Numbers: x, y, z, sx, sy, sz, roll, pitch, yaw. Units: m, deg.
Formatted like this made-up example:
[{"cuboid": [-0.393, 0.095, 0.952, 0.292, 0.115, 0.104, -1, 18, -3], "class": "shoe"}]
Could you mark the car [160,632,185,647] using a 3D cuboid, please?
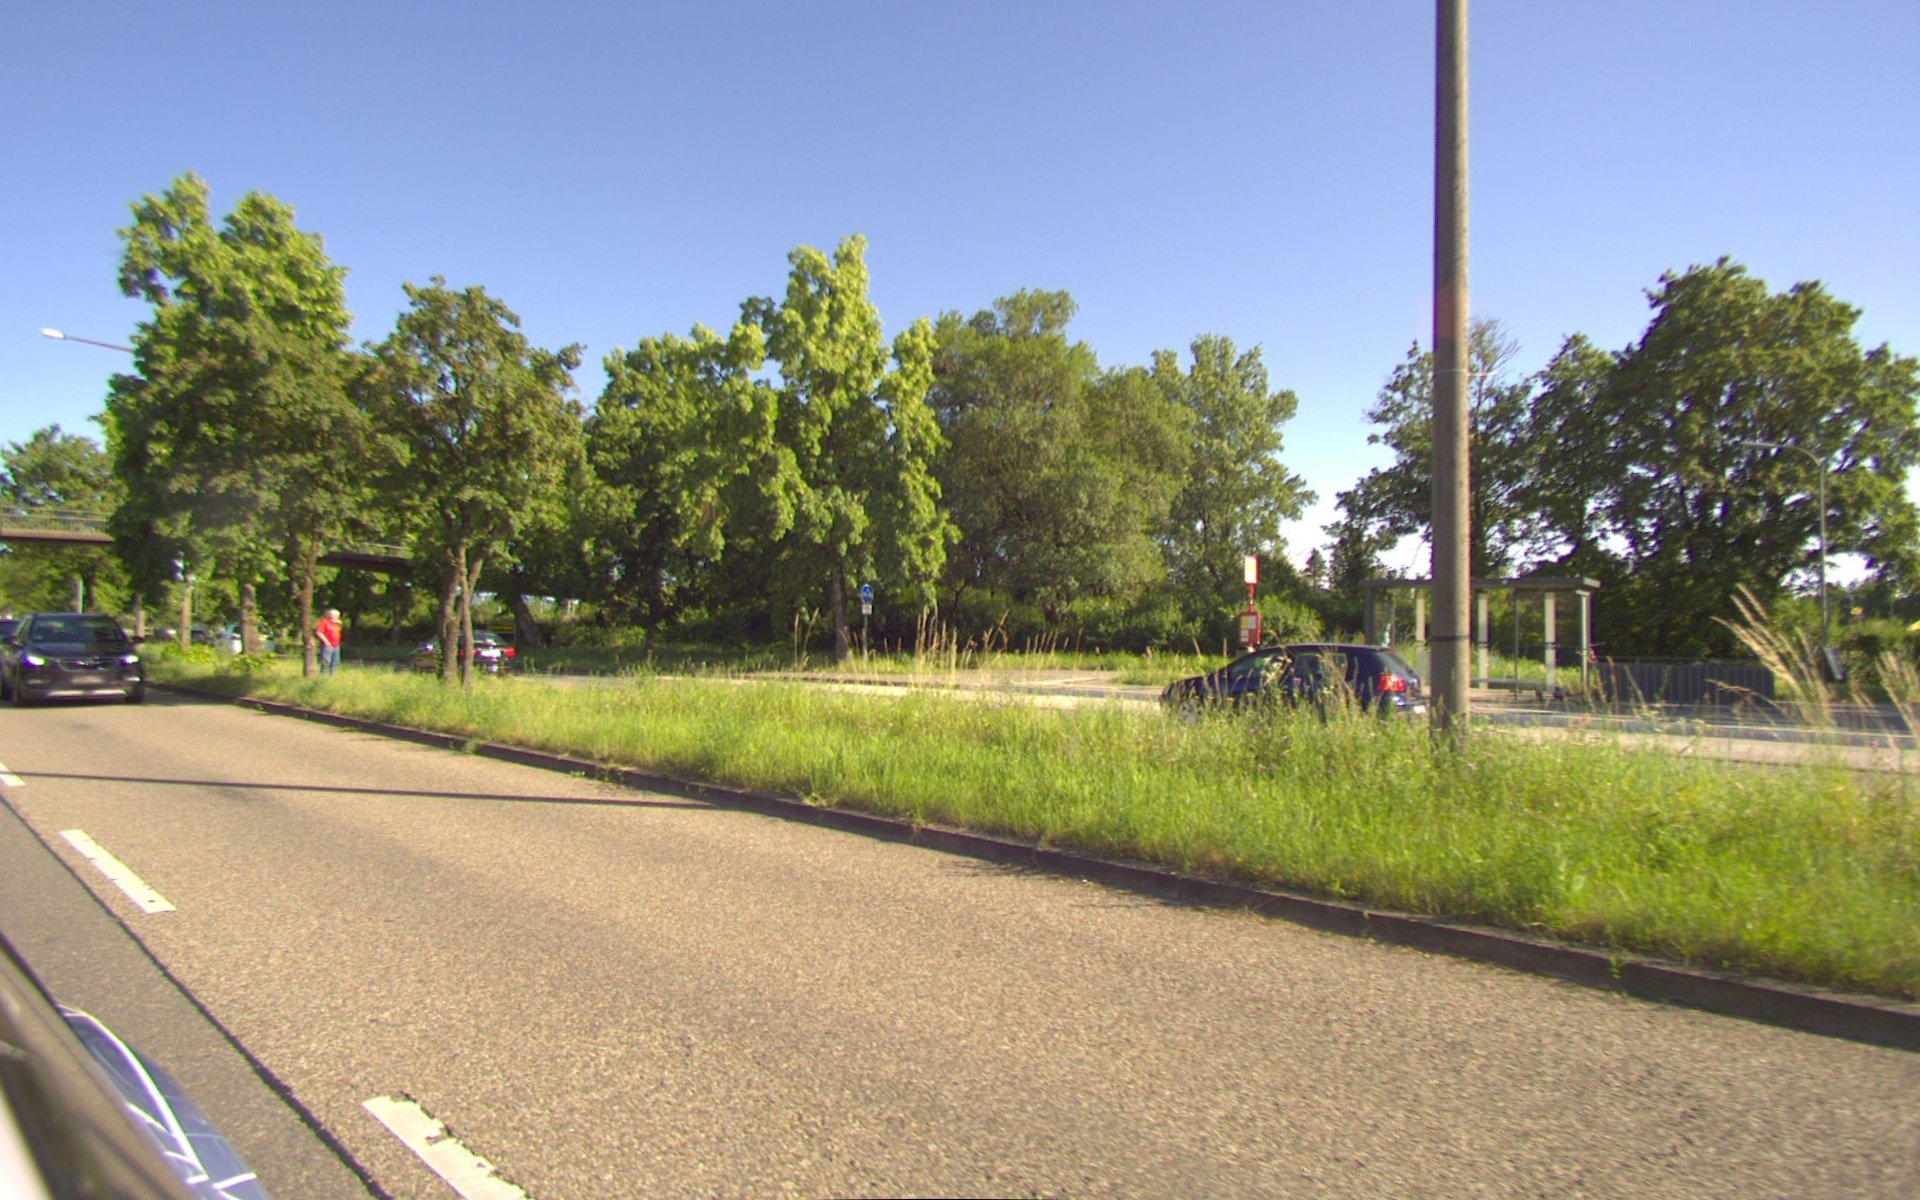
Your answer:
[{"cuboid": [-87.187, 4.353, 111.986, 1.729, 1.632, 4.582, 2, -3, -44], "class": "car"}]

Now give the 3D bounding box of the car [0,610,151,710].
[{"cuboid": [-16.629, 1.045, 18.738, 4.512, 1.627, 1.787, -1, -2, 41], "class": "car"}]

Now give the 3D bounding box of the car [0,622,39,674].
[{"cuboid": [-30.933, 1.546, 32.458, 4.648, 1.574, 1.798, -3, -3, 45], "class": "car"}]

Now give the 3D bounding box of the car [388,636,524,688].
[{"cuboid": [-14.743, 1.742, 29.504, 4.976, 1.371, 1.763, -1, -3, 41], "class": "car"}]

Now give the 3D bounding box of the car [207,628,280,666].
[{"cuboid": [-32.020, 2.092, 45.182, 4.196, 1.644, 1.712, -2, -4, 41], "class": "car"}]

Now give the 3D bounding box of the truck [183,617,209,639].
[{"cuboid": [-97.469, 3.579, 129.167, 2.143, 2.532, 5.756, 4, -5, -34], "class": "truck"}]

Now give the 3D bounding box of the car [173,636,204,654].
[{"cuboid": [-73.987, 4.340, 97.033, 1.711, 1.659, 4.903, 5, -5, -44], "class": "car"}]

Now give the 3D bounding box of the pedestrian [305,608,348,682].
[{"cuboid": [-14.958, 1.054, 23.909, 0.621, 1.709, 0.946, 1, -2, -18], "class": "pedestrian"}]

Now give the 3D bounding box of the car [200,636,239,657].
[{"cuboid": [-52.277, 3.287, 71.397, 4.257, 1.442, 1.522, -2, -5, 45], "class": "car"}]

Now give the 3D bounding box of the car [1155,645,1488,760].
[{"cuboid": [5.536, 1.479, 15.879, 4.593, 1.512, 1.786, -1, -3, 41], "class": "car"}]
